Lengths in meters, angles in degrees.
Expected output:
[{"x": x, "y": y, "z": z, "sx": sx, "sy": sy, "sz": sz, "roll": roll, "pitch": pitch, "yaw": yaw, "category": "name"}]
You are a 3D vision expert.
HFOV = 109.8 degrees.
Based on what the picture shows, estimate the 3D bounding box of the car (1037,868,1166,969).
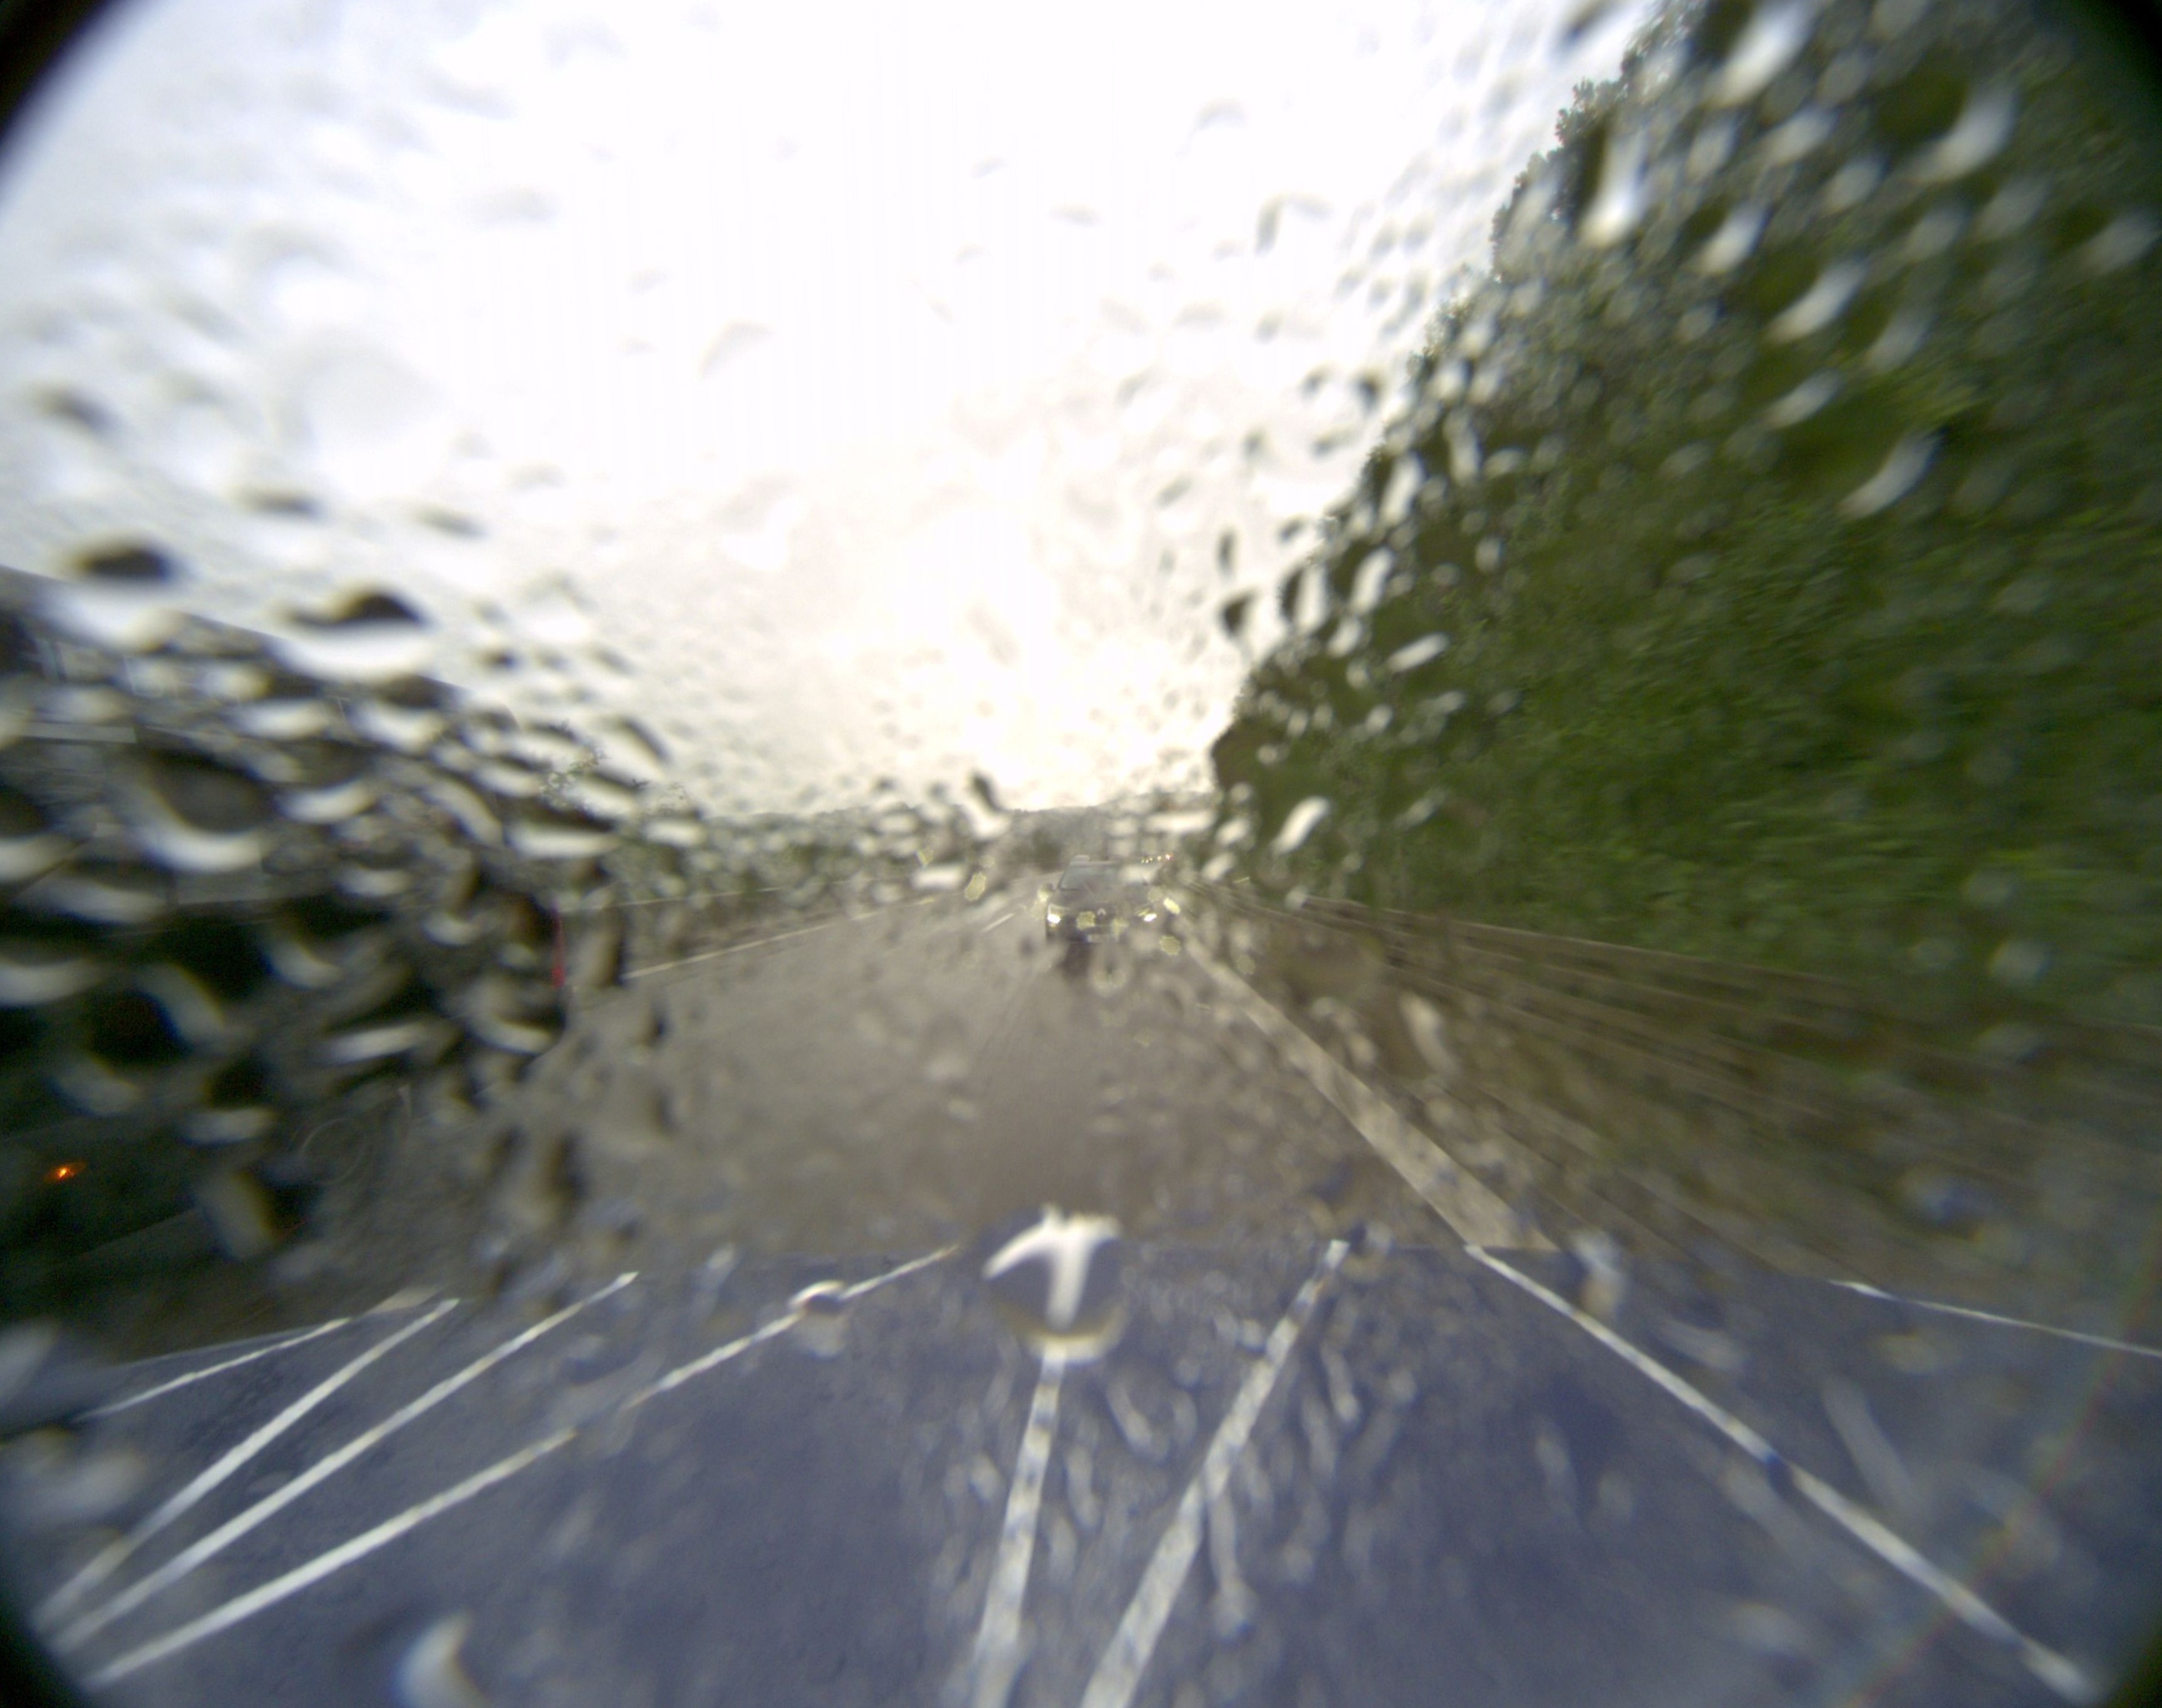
[{"x": 0.371, "y": 0.977, "z": 13.123, "sx": 1.839, "sy": 1.316, "sz": 4.135, "roll": -2, "pitch": 1, "yaw": 2, "category": "car"}]

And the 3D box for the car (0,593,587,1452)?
[{"x": -4.142, "y": 0.503, "z": 1.346, "sx": 1.998, "sy": 2.479, "sz": 6.705, "roll": -1, "pitch": 0, "yaw": 1, "category": "car"}]

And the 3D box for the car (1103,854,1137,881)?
[{"x": 2.256, "y": 0.720, "z": 42.709, "sx": 1.712, "sy": 1.316, "sz": 3.946, "roll": -2, "pitch": 0, "yaw": 5, "category": "car"}]

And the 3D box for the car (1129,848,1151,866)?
[{"x": 5.579, "y": 0.252, "z": 71.738, "sx": 1.905, "sy": 1.545, "sz": 4.566, "roll": -2, "pitch": 0, "yaw": 6, "category": "car"}]

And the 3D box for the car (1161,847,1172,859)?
[{"x": 14.088, "y": -0.234, "z": 125.402, "sx": 1.591, "sy": 1.895, "sz": 3.754, "roll": -1, "pitch": 0, "yaw": 4, "category": "car"}]

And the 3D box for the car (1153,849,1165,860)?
[{"x": 11.307, "y": 0.102, "z": 110.234, "sx": 1.657, "sy": 1.535, "sz": 3.665, "roll": -1, "pitch": 0, "yaw": 6, "category": "car"}]

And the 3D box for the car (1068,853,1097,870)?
[{"x": 0.164, "y": 0.648, "z": 67.584, "sx": 1.989, "sy": 1.407, "sz": 4.566, "roll": -2, "pitch": 0, "yaw": 7, "category": "car"}]
